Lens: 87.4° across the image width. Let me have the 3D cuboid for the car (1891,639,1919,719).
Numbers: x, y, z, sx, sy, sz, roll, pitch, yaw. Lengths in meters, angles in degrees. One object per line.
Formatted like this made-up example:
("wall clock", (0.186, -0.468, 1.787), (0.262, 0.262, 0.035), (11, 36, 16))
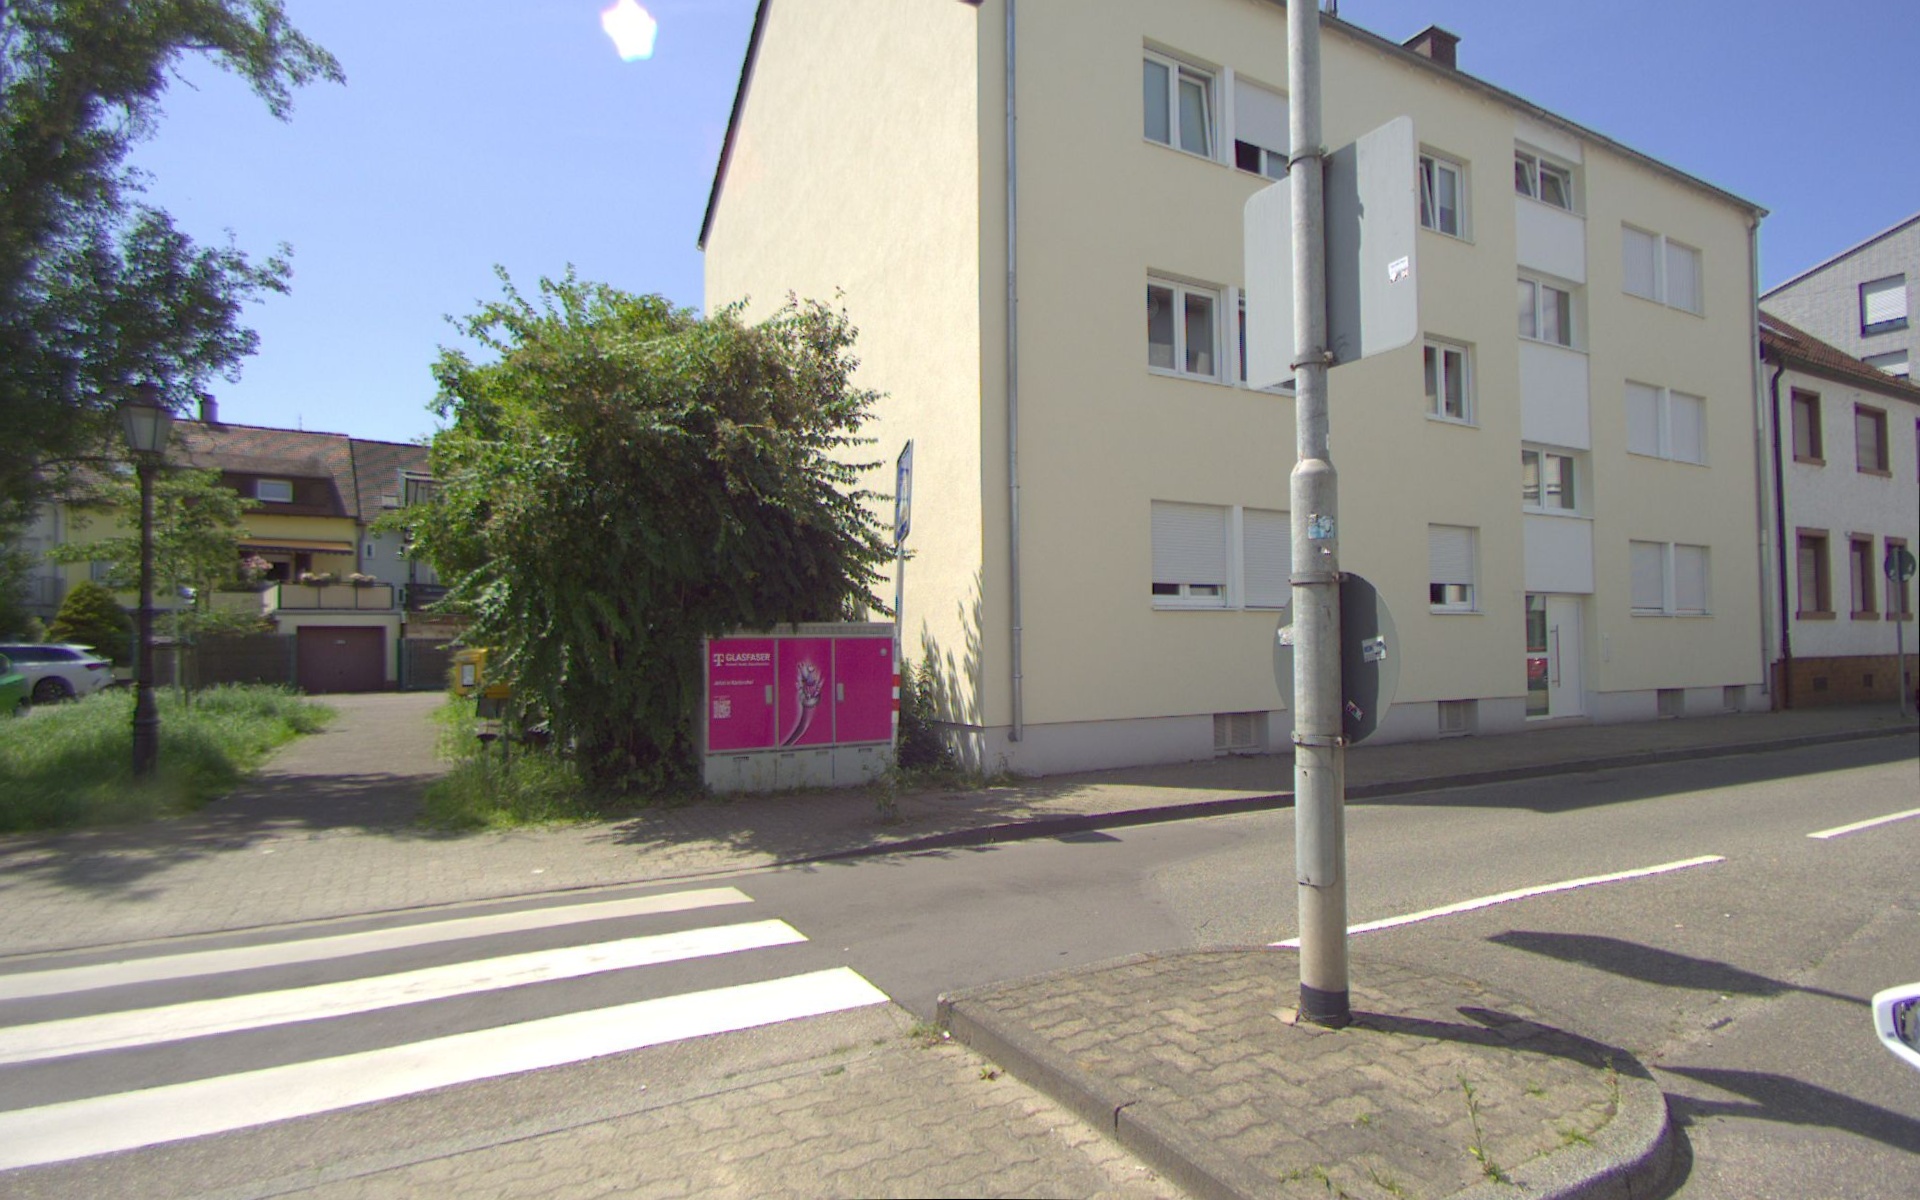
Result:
("car", (19.521, 1.457, 18.785), (4.236, 1.435, 1.827), (1, -2, -28))

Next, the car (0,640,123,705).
("car", (-23.316, 1.752, 24.545), (4.245, 1.474, 1.655), (1, -1, -36))

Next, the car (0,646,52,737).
("car", (-15.696, 1.416, 15.167), (1.779, 1.416, 3.977), (0, -3, -25))
